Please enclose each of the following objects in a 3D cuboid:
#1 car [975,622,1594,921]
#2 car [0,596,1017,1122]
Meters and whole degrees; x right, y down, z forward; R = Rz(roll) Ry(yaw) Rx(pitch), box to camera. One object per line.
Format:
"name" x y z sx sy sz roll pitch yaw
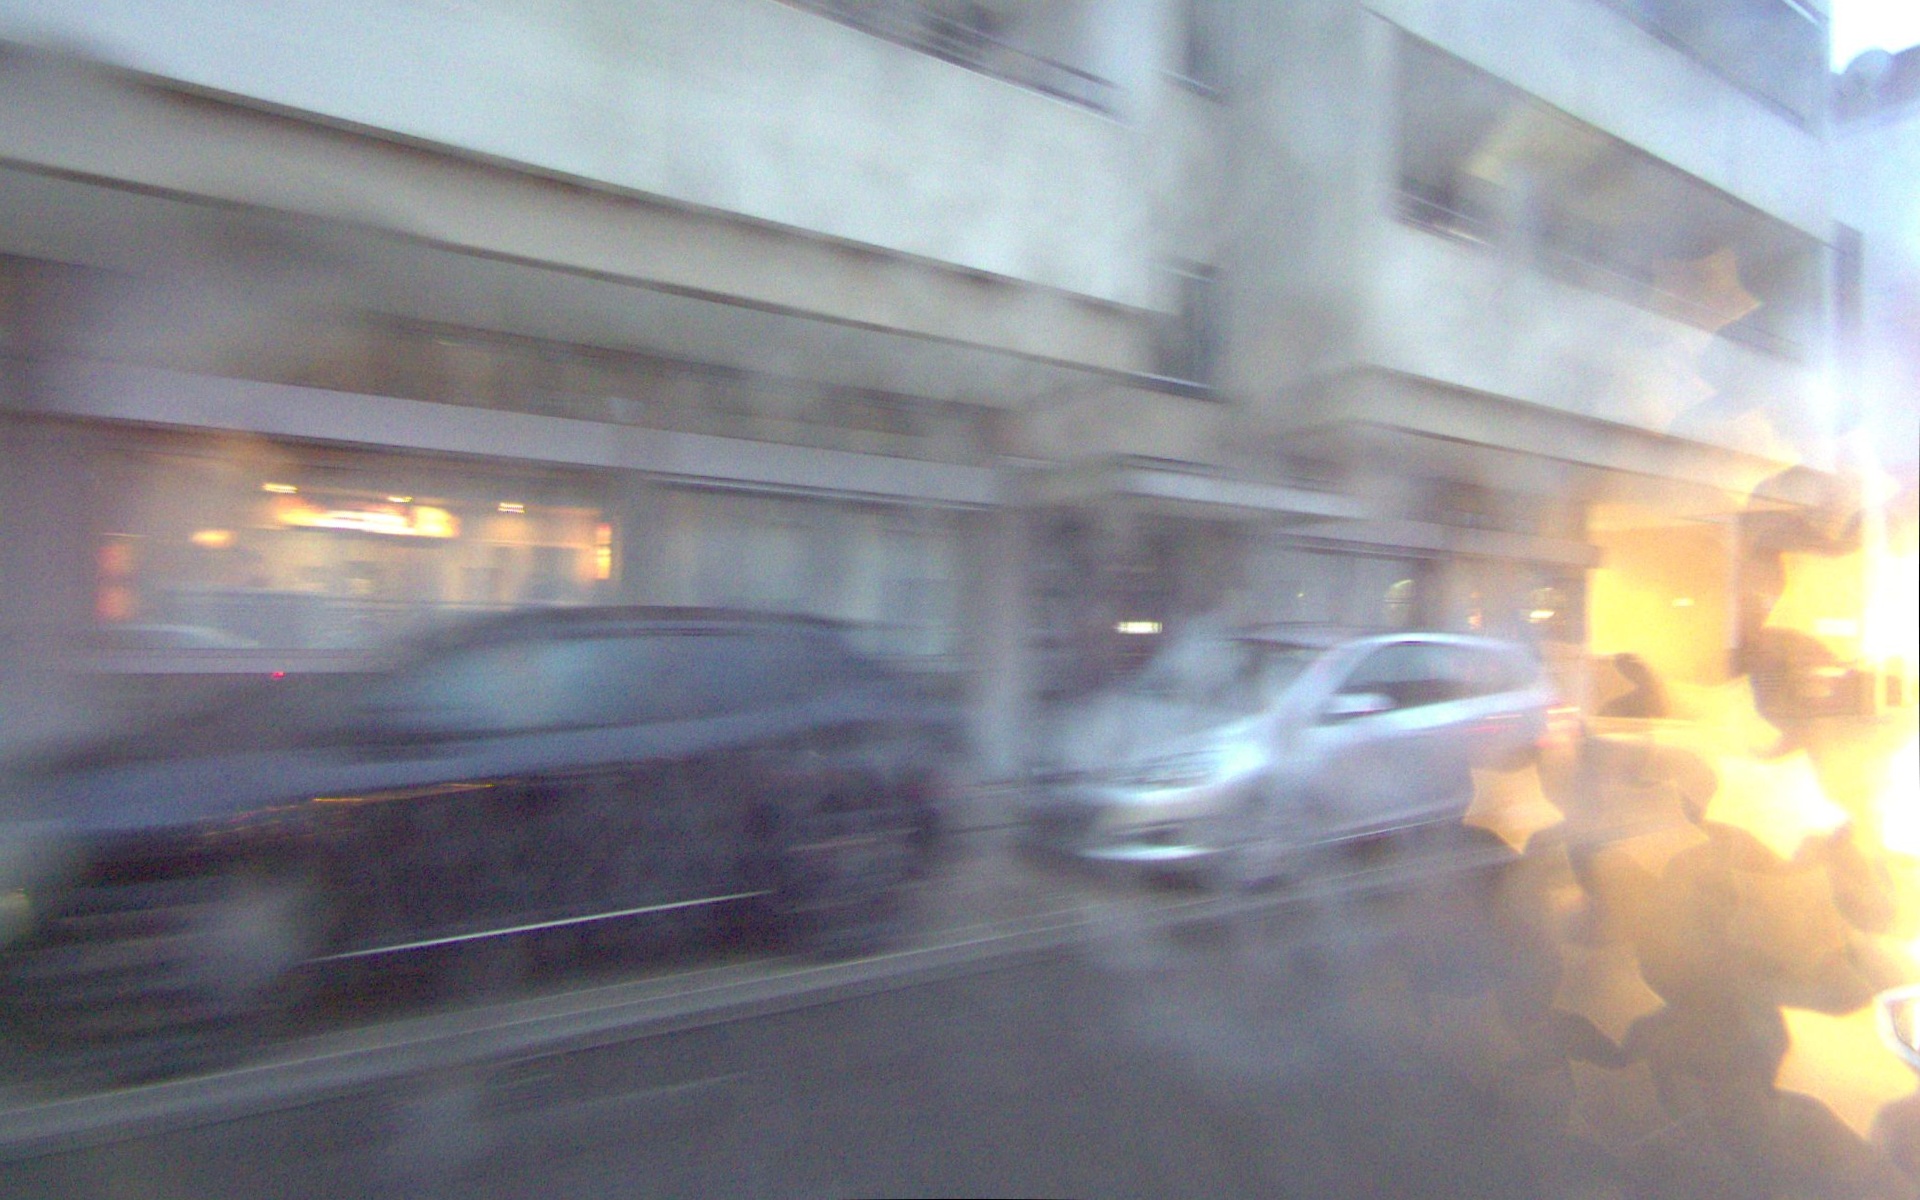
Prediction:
"car" 2.392 0.924 6.971 4.379 1.466 1.666 1 0 -32
"car" -1.805 0.807 4.549 3.882 1.553 1.607 1 0 -30
